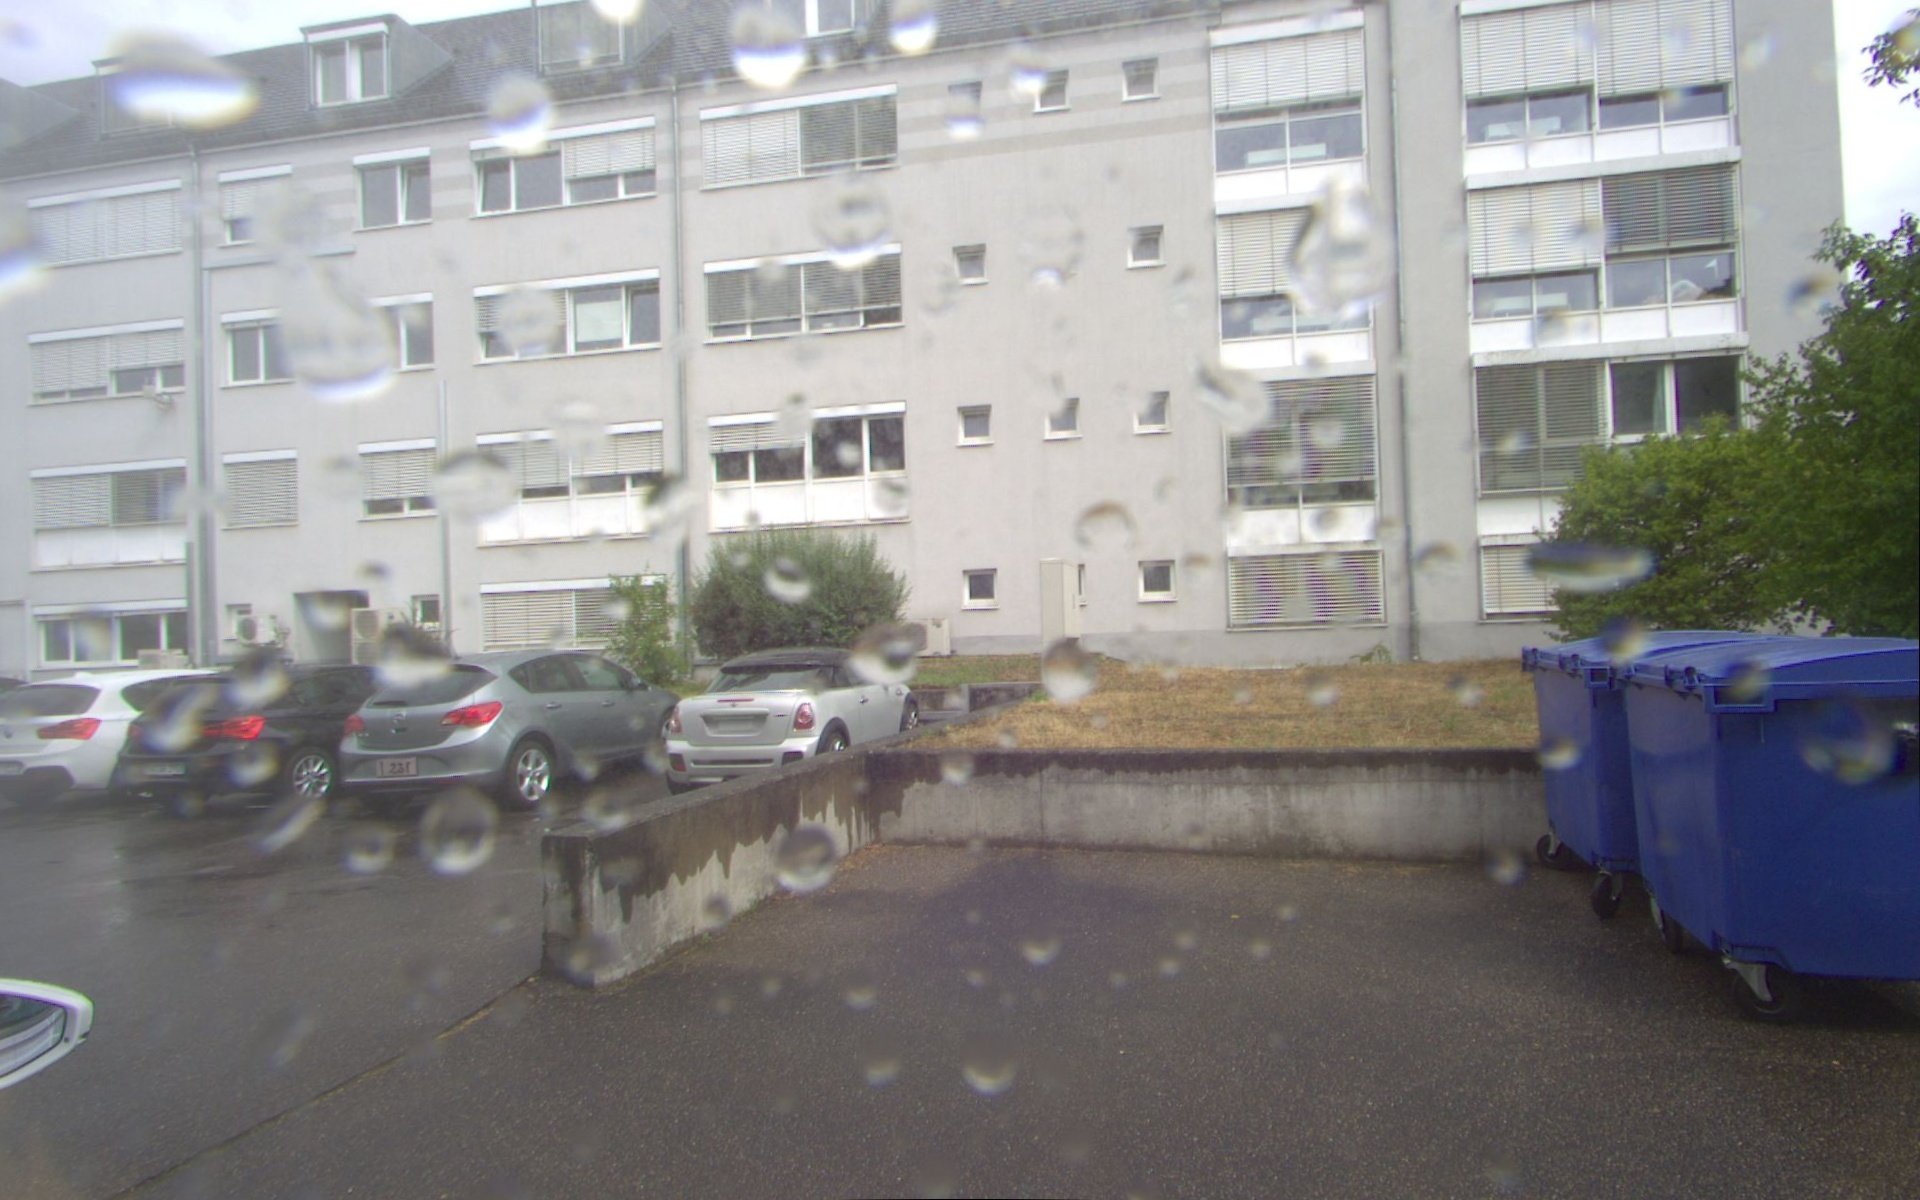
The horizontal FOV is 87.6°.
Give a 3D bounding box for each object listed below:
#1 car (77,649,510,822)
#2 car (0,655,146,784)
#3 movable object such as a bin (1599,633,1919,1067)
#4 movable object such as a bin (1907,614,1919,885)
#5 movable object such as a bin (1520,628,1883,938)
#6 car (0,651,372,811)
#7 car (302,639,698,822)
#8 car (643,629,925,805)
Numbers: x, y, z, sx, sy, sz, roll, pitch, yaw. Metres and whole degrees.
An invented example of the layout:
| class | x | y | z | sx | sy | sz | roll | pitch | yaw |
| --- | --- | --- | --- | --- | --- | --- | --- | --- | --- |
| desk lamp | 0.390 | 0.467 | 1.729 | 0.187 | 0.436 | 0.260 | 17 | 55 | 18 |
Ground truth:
| class | x | y | z | sx | sy | sz | roll | pitch | yaw |
| --- | --- | --- | --- | --- | --- | --- | --- | --- | --- |
| car | -7.149 | 1.366 | 11.325 | 1.740 | 1.421 | 3.997 | -2 | 0 | 11 |
| car | -12.823 | 1.558 | 12.492 | 1.785 | 1.533 | 3.921 | -2 | -1 | 9 |
| movable object such as a bin | 3.268 | 0.816 | 3.792 | 1.064 | 1.321 | 1.374 | -2 | -1 | 18 |
| movable object such as a bin | 5.139 | 0.715 | 4.220 | 1.176 | 1.353 | 1.295 | -2 | -1 | 18 |
| movable object such as a bin | 3.606 | 0.831 | 5.051 | 1.087 | 1.321 | 1.188 | -2 | -1 | 17 |
| car | -9.465 | 1.453 | 12.193 | 1.740 | 1.477 | 3.999 | -2 | -1 | 11 |
| car | -4.604 | 1.234 | 10.766 | 1.773 | 1.464 | 3.997 | -2 | -1 | 13 |
| car | -1.649 | 1.106 | 10.565 | 1.657 | 1.445 | 3.423 | -3 | -1 | 13 |
